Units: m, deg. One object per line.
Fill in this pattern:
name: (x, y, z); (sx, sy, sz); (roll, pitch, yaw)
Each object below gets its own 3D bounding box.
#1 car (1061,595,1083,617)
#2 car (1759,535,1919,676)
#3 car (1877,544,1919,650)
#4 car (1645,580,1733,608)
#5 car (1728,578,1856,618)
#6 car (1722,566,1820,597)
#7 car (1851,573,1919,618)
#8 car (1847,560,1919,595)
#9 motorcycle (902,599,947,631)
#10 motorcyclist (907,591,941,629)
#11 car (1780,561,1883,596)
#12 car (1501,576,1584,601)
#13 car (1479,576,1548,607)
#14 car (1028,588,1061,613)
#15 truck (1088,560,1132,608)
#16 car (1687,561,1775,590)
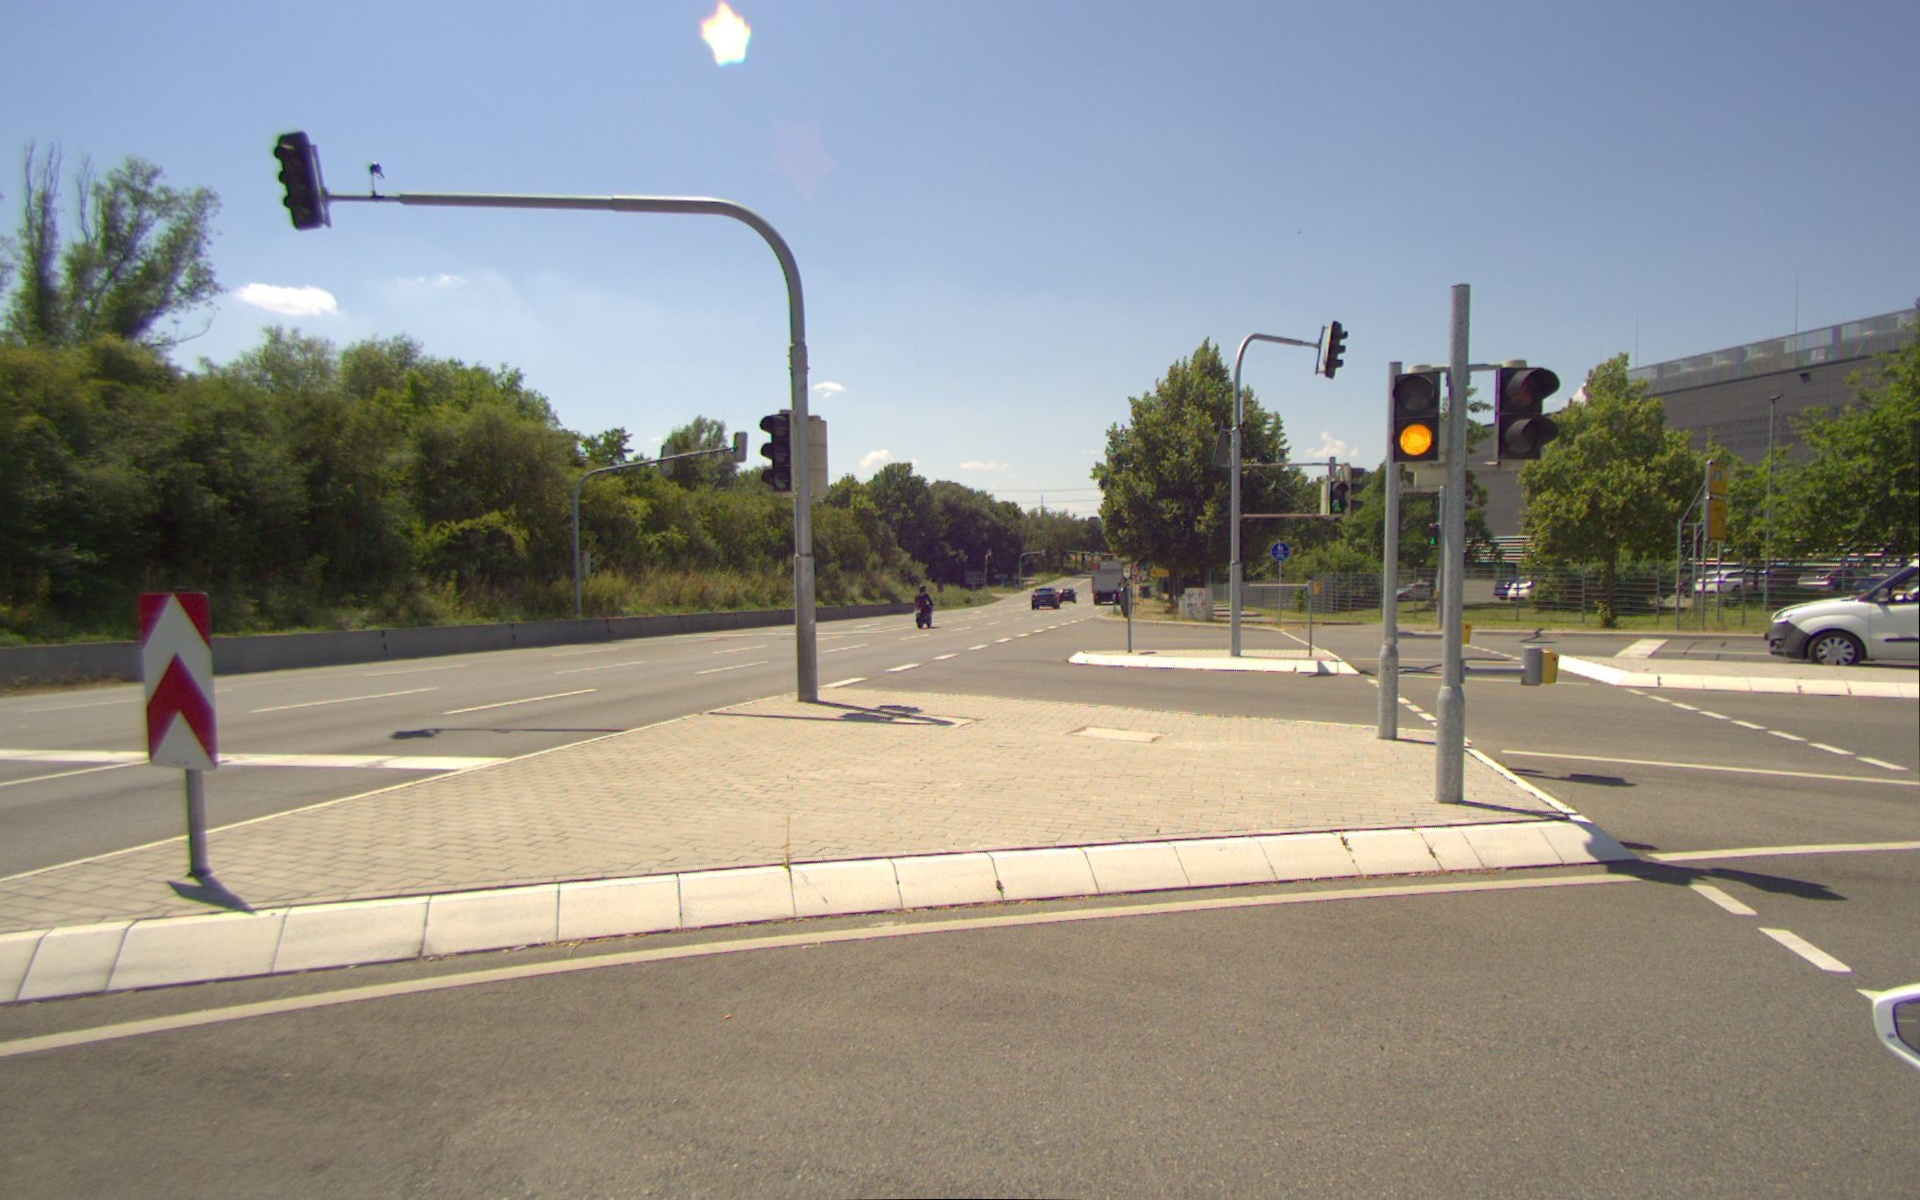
car: (11.200, 0.614, 100.226); (1.959, 2.040, 4.003); (-1, -1, 9)
car: (15.046, 0.051, 14.883); (1.986, 1.969, 4.808); (-7, 6, -43)
car: (18.177, -0.060, 16.987); (1.986, 1.730, 3.814); (-8, 6, -43)
car: (41.210, -0.327, 56.834); (3.933, 1.506, 1.994); (-1, -1, -15)
car: (32.923, -0.068, 39.787); (3.933, 1.506, 1.994); (-1, -1, -15)
car: (41.746, -0.969, 51.722); (3.933, 1.506, 1.994); (-1, -1, -15)
car: (33.268, -0.147, 34.630); (3.933, 1.506, 1.994); (-1, -1, -15)
car: (43.103, -1.028, 46.028); (3.933, 1.549, 1.815); (-1, -1, -15)
motorcycle: (-1.357, 0.556, 38.617); (0.847, 1.157, 2.168); (-1, 1, 24)
motorcyclist: (-1.378, 0.380, 38.621); (0.859, 1.431, 1.175); (-1, -1, 24)
car: (42.539, -1.048, 49.027); (3.933, 1.537, 1.914); (-1, 0, -15)
car: (29.672, -0.582, 51.190); (3.574, 1.180, 1.611); (-1, -1, -15)
car: (38.581, -0.592, 70.037); (3.933, 2.040, 1.994); (-1, -1, -15)
car: (6.133, 0.054, 72.627); (1.959, 1.773, 4.003); (-1, -1, 10)
truck: (12.812, -1.283, 85.549); (3.210, 3.891, 6.206); (-1, -1, 13)
car: (41.618, -1.329, 54.243); (3.933, 1.479, 1.766); (-1, -1, -15)
